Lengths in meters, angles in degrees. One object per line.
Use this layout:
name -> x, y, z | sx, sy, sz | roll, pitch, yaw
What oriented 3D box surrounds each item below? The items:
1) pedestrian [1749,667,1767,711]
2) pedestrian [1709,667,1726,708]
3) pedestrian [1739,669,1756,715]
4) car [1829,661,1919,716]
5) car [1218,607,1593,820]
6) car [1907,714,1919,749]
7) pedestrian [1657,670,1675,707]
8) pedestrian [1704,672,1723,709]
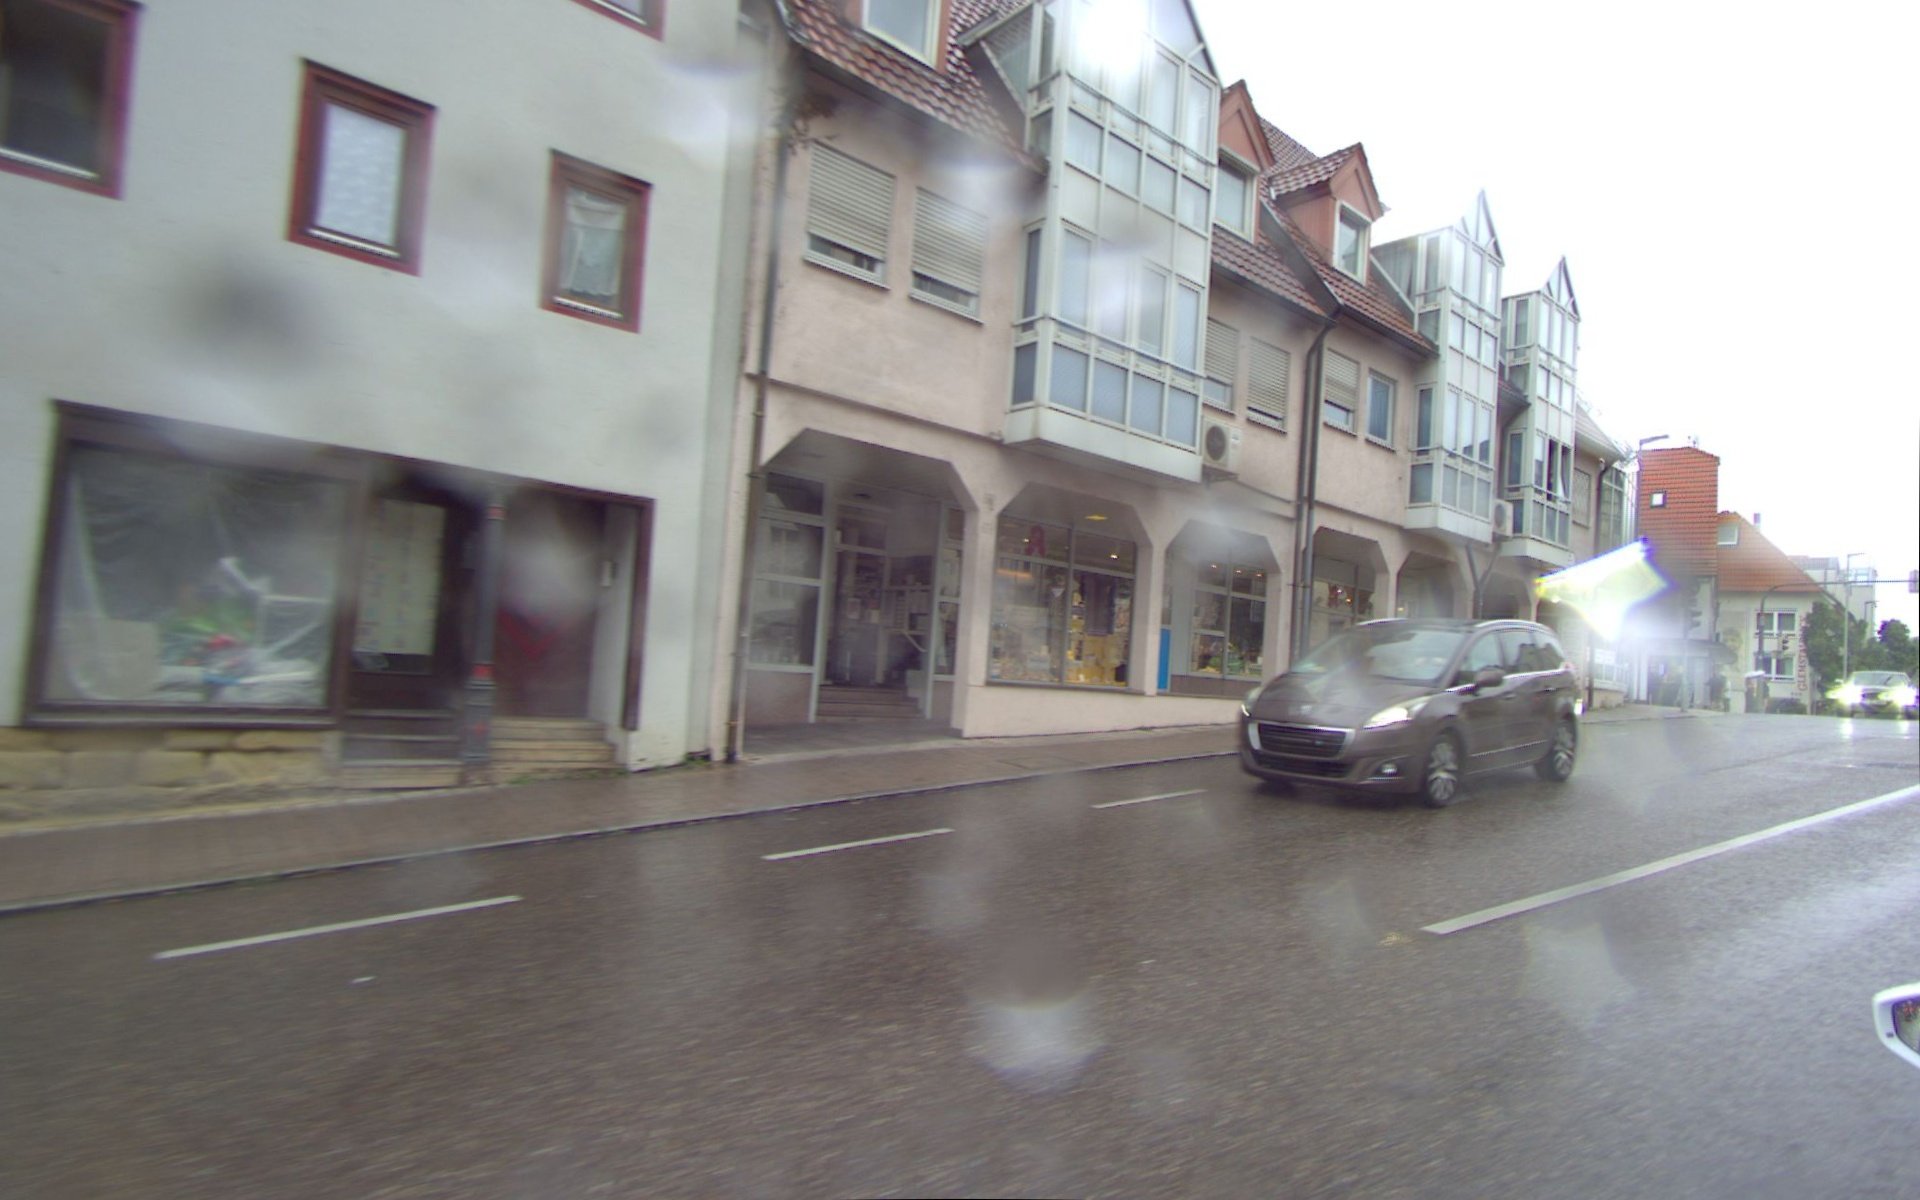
pedestrian -> 35.232, 3.911, 44.342 | 0.595, 1.891, 0.745 | -2, -4, 39
pedestrian -> 33.994, 3.906, 45.078 | 0.585, 1.797, 0.632 | -2, -4, 39
pedestrian -> 33.503, 3.904, 42.733 | 0.528, 1.895, 0.632 | -2, -4, 39
car -> 27.556, 2.597, 30.038 | 3.970, 1.486, 1.870 | 2, -3, -42
car -> 4.507, 0.941, 9.866 | 4.182, 1.651, 1.767 | 2, -1, -41
car -> 76.491, 10.337, 78.964 | 6.513, 2.659, 2.563 | 6, -6, -43
pedestrian -> 31.175, 3.901, 44.346 | 0.585, 1.579, 0.632 | -2, -4, 39
pedestrian -> 33.065, 3.975, 44.079 | 0.585, 1.579, 0.632 | -2, -4, 39
